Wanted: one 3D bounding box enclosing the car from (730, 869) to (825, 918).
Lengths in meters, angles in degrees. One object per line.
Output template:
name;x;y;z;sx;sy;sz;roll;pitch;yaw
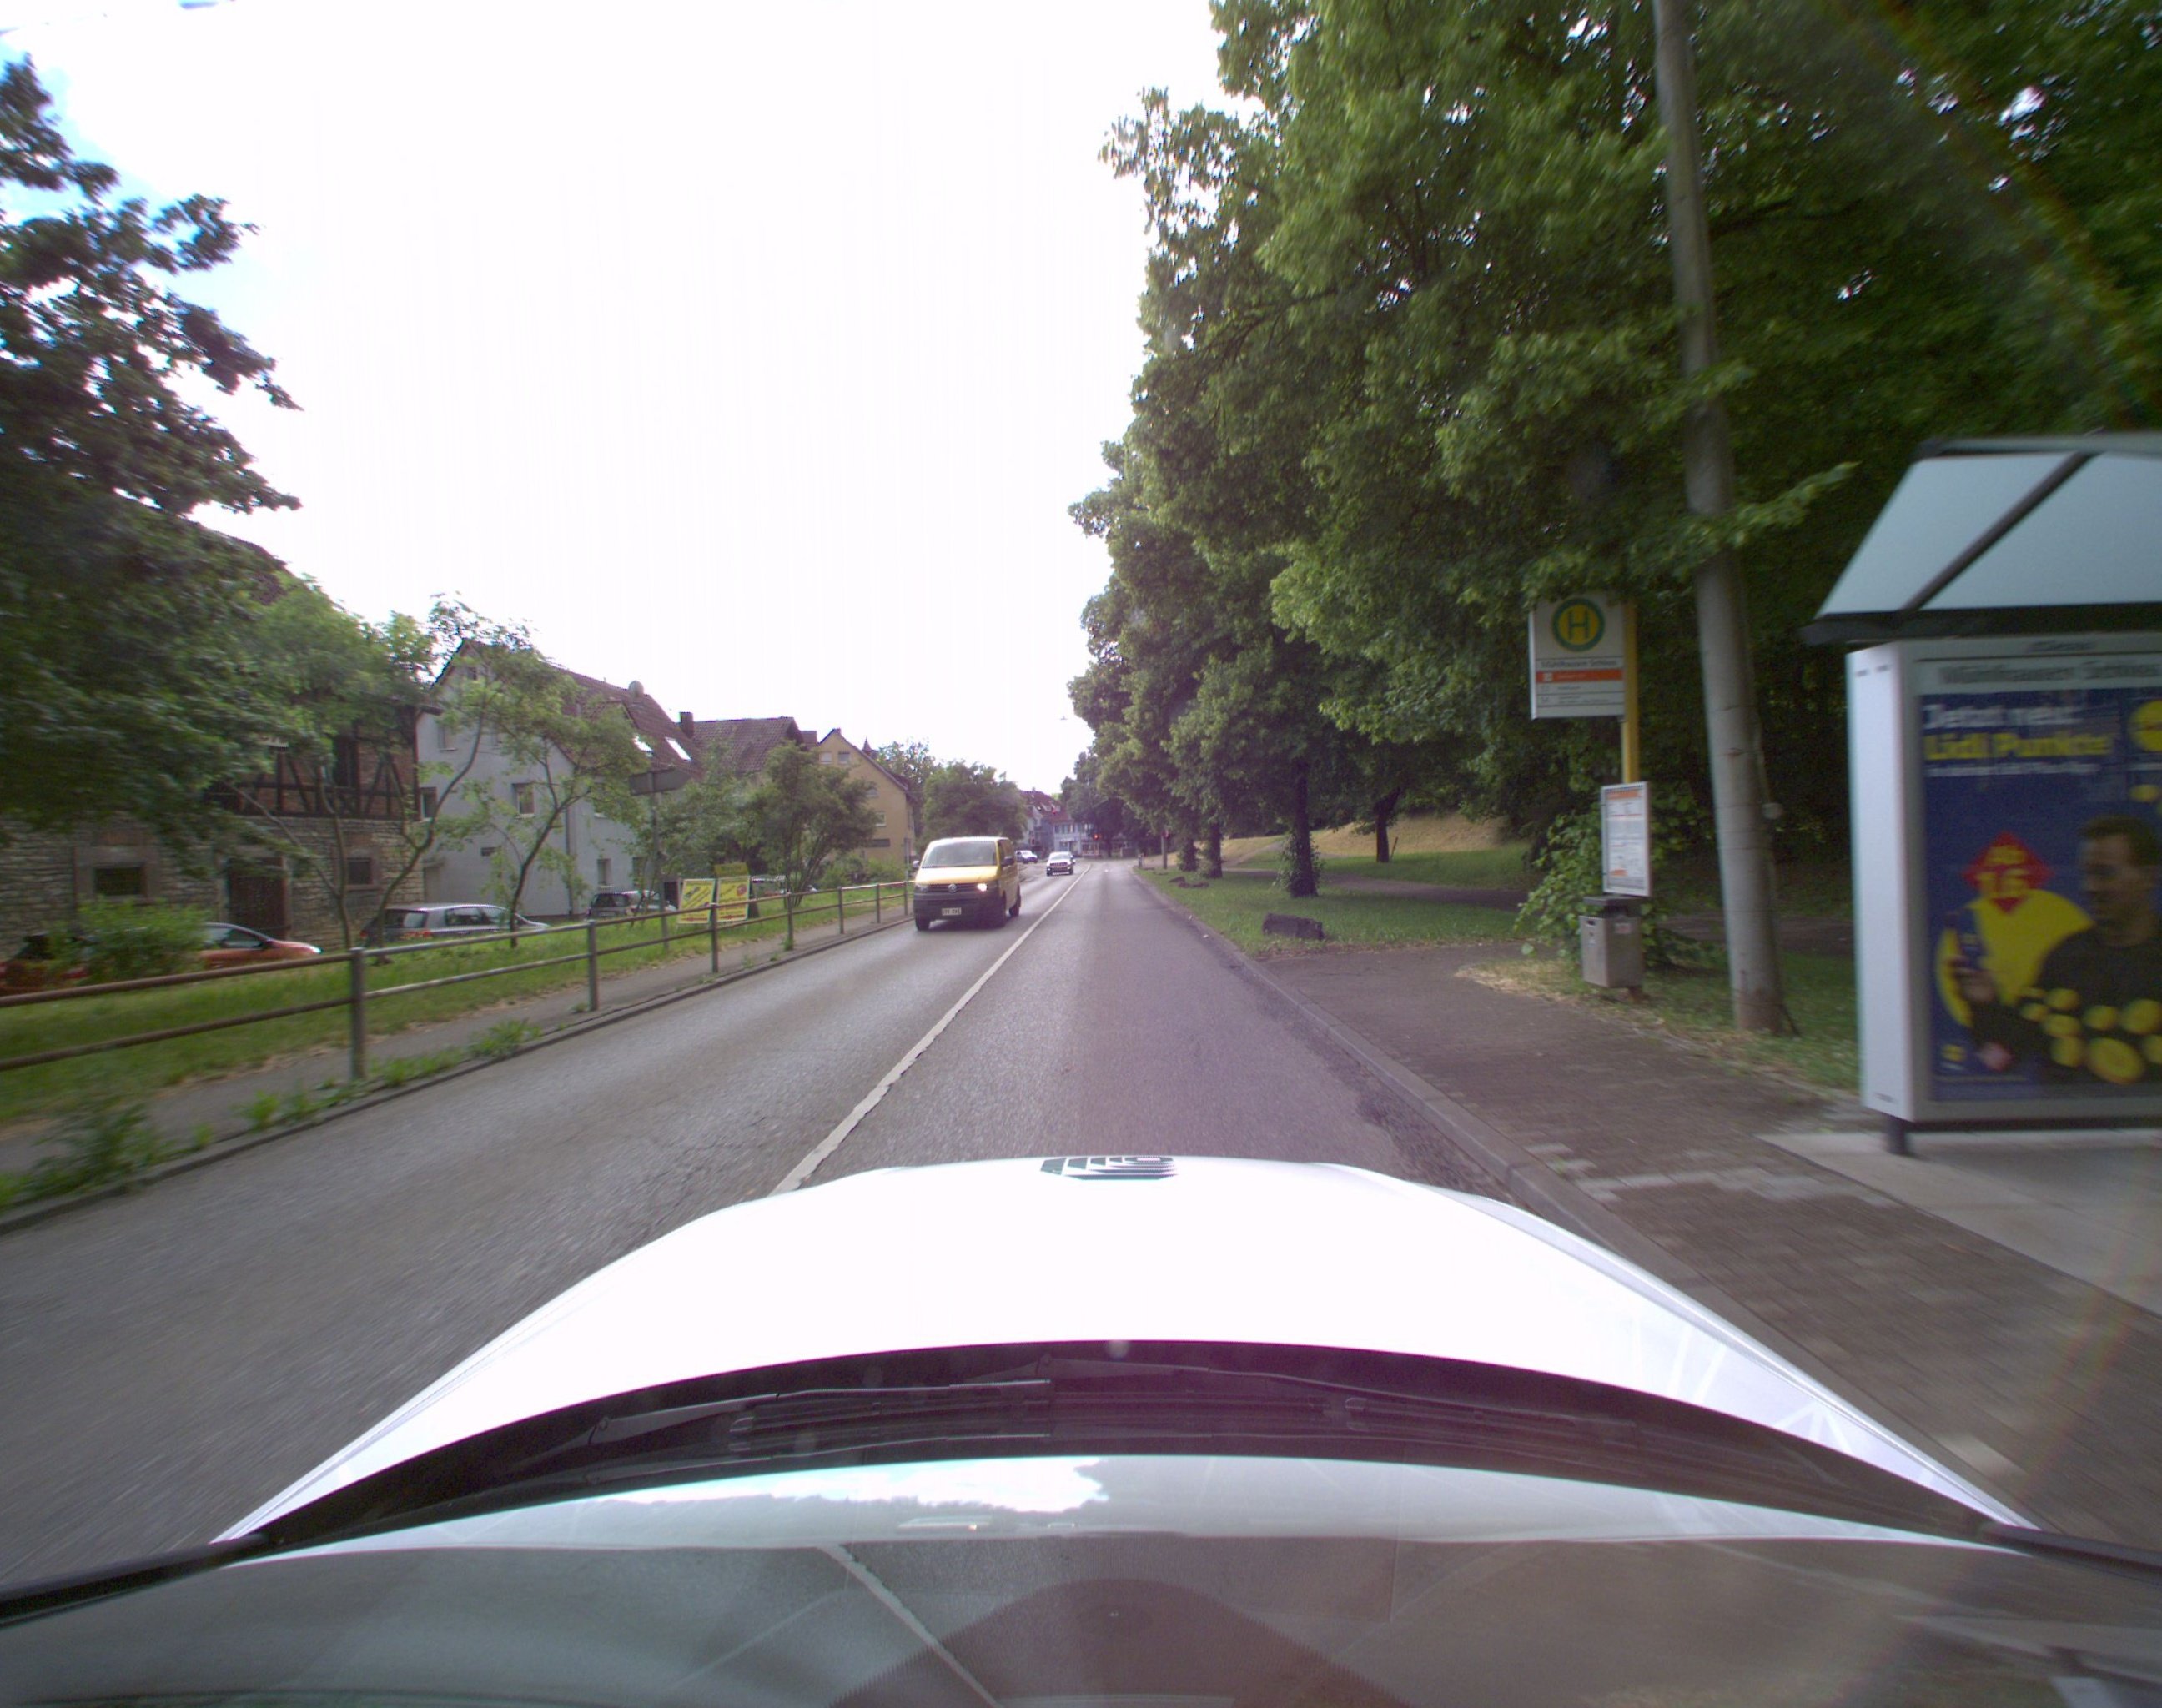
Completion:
car;-12.451;1.574;33.665;1.910;1.695;4.009;-3;0;7

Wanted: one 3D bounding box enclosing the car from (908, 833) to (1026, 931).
car;-2.455;0.557;18.788;1.839;1.930;4.771;-2;0;2

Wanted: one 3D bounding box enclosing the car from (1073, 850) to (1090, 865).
car;0.039;0.352;89.140;1.710;1.468;4.099;-3;1;1

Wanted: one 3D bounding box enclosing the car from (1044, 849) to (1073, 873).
car;-1.515;0.449;56.412;1.698;1.511;4.002;-4;0;2

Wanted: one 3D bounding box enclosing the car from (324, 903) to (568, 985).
car;-14.021;1.931;18.334;1.983;1.277;4.009;-3;0;7

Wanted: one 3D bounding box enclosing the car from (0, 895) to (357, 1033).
car;-14.693;1.655;13.337;1.803;1.618;4.005;-4;0;5

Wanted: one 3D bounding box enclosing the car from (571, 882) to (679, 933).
car;-13.714;1.590;24.636;1.544;1.278;2.559;-3;0;7
